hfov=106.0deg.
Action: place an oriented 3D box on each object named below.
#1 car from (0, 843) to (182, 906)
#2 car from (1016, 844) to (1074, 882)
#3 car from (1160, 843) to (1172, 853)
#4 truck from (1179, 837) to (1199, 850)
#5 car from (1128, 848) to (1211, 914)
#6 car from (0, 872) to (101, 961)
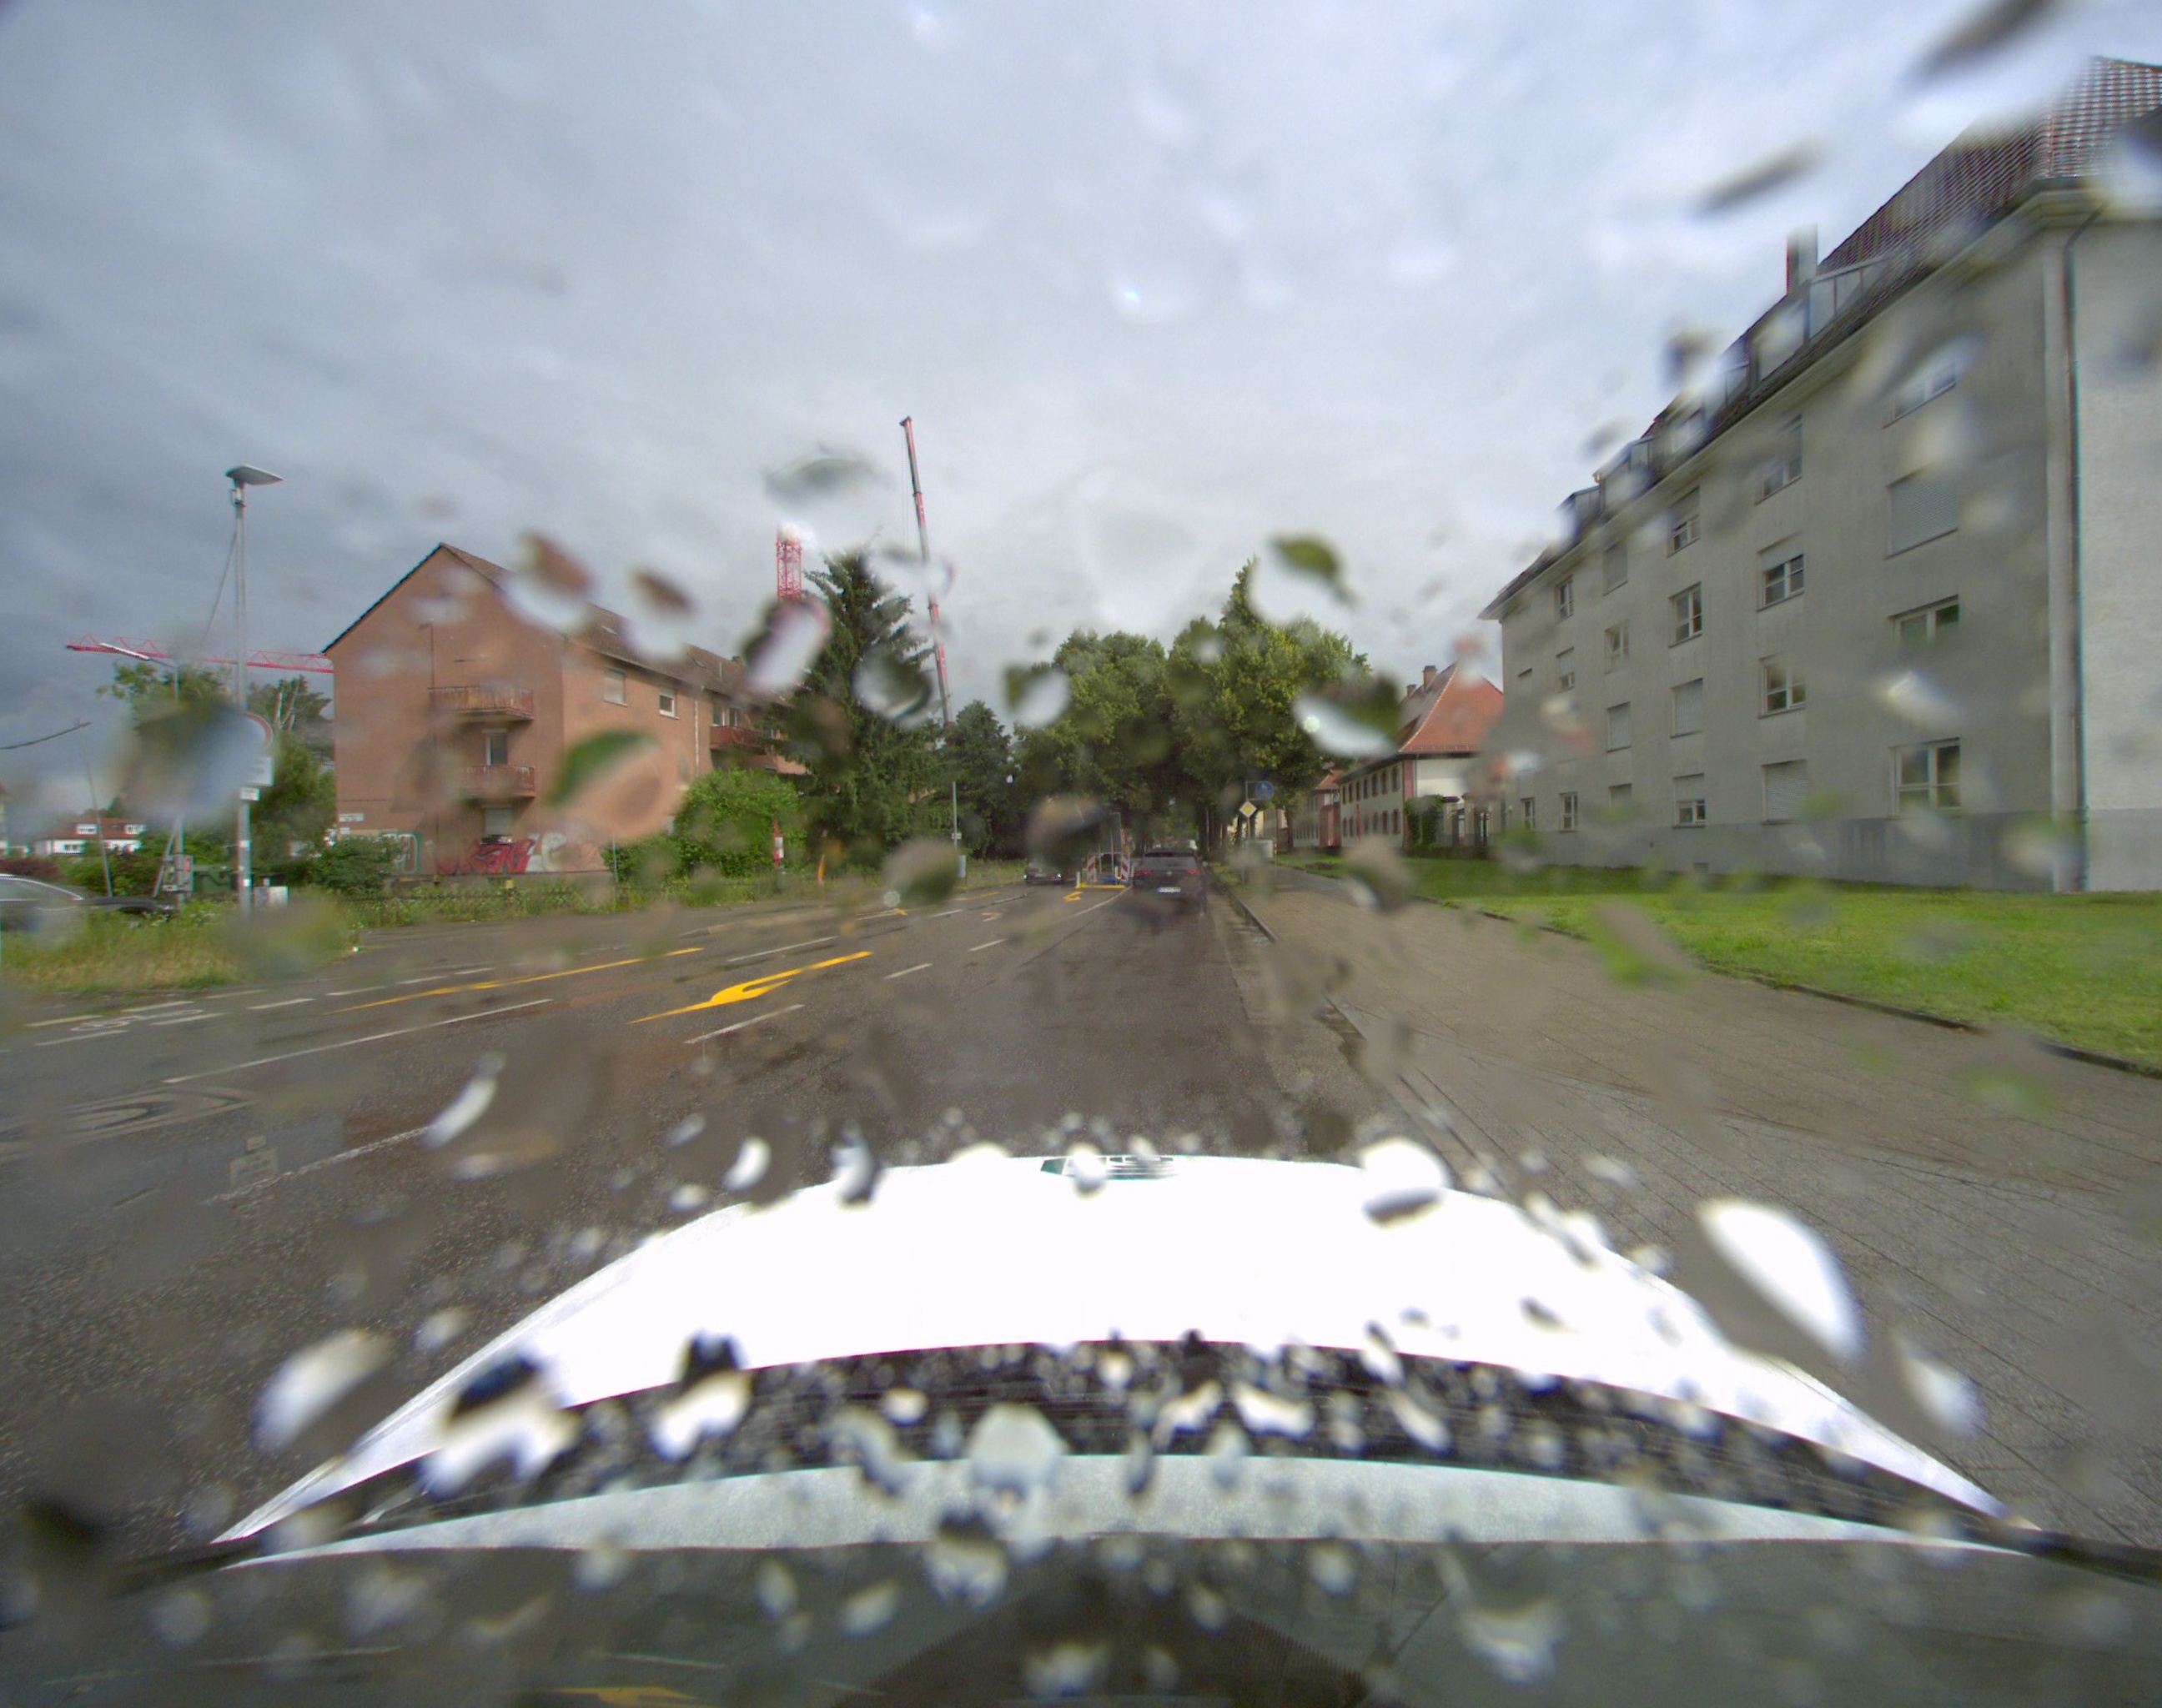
[{"bbox_3d":[-35.232,0.661,28.822,1.694,2.018,4.350,0,1,34],"label":"car"},{"bbox_3d":[-1.502,0.351,35.260,1.669,1.508,3.804,-2,1,10],"label":"car"},{"bbox_3d":[14.583,-1.059,139.853,1.876,1.713,4.239,-2,0,8],"label":"car"},{"bbox_3d":[23.340,-2.227,177.009,2.799,2.656,8.232,-1,1,-3],"label":"truck"},{"bbox_3d":[2.301,0.613,20.976,1.885,1.522,4.008,-1,0,7],"label":"car"},{"bbox_3d":[-21.290,1.221,14.615,1.740,1.618,4.348,-1,1,18],"label":"car"}]
